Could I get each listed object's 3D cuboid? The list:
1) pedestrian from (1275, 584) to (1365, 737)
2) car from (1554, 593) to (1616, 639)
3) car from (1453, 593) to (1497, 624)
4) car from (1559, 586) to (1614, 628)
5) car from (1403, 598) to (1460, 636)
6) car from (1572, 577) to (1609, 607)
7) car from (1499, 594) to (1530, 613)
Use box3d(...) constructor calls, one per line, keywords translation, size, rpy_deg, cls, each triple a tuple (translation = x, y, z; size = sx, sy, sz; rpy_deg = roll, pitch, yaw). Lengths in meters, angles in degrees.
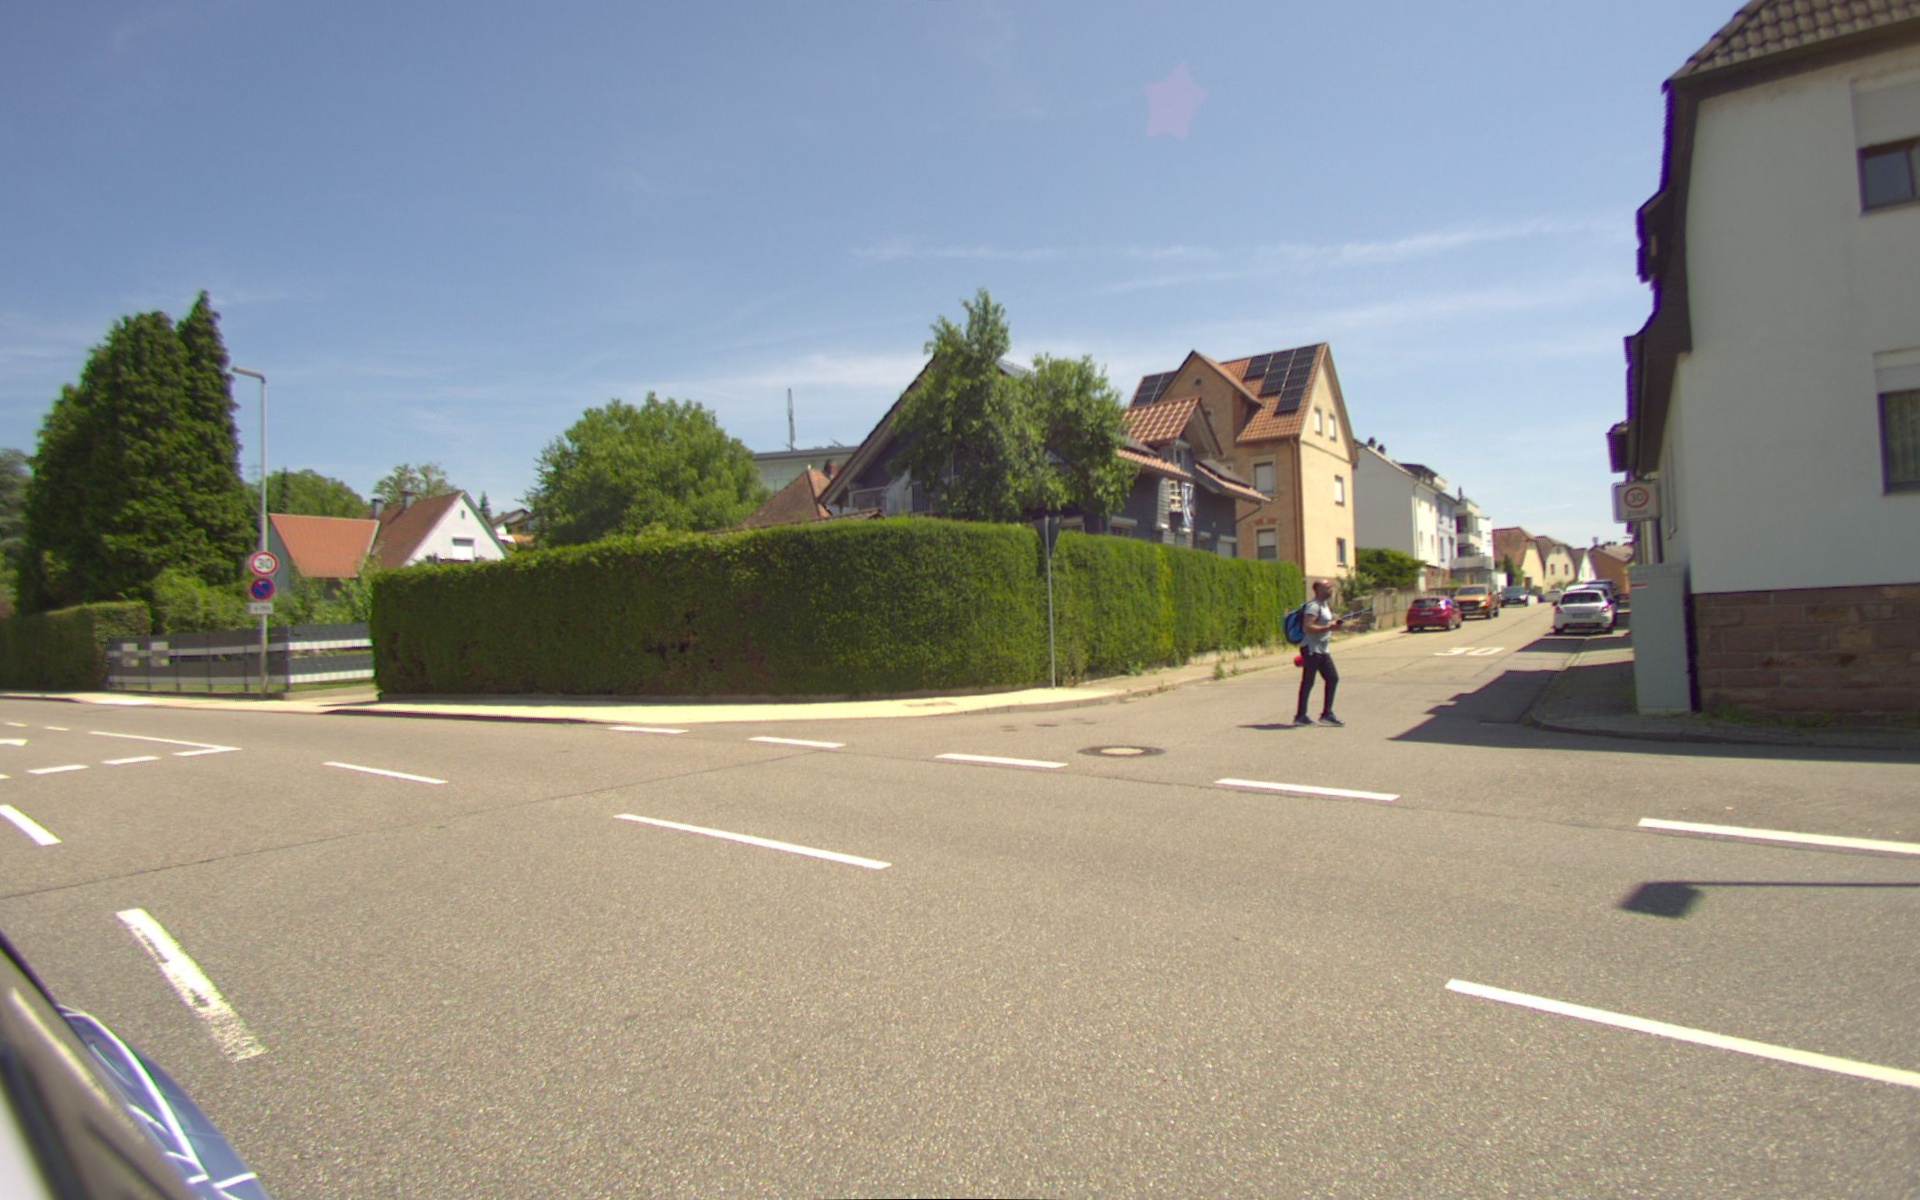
box3d(translation=(4.325, 0.693, 12.163), size=(0.854, 1.742, 0.721), rpy_deg=(0, 1, 35), cls="pedestrian")
box3d(translation=(21.613, 0.525, 34.966), size=(1.653, 1.499, 3.143), rpy_deg=(-2, -1, 35), cls="car")
box3d(translation=(26.765, 0.430, 52.564), size=(1.611, 1.499, 3.384), rpy_deg=(-2, -1, 34), cls="car")
box3d(translation=(25.223, 0.259, 40.692), size=(1.653, 1.587, 3.629), rpy_deg=(-2, -1, 34), cls="car")
box3d(translation=(20.070, 0.717, 43.012), size=(1.611, 1.499, 3.384), rpy_deg=(-2, -1, 34), cls="car")
box3d(translation=(38.436, -0.467, 61.677), size=(1.702, 1.733, 3.629), rpy_deg=(-2, -1, 34), cls="car")
box3d(translation=(39.945, 0.258, 72.869), size=(1.611, 1.316, 3.316), rpy_deg=(-2, -1, 34), cls="car")
